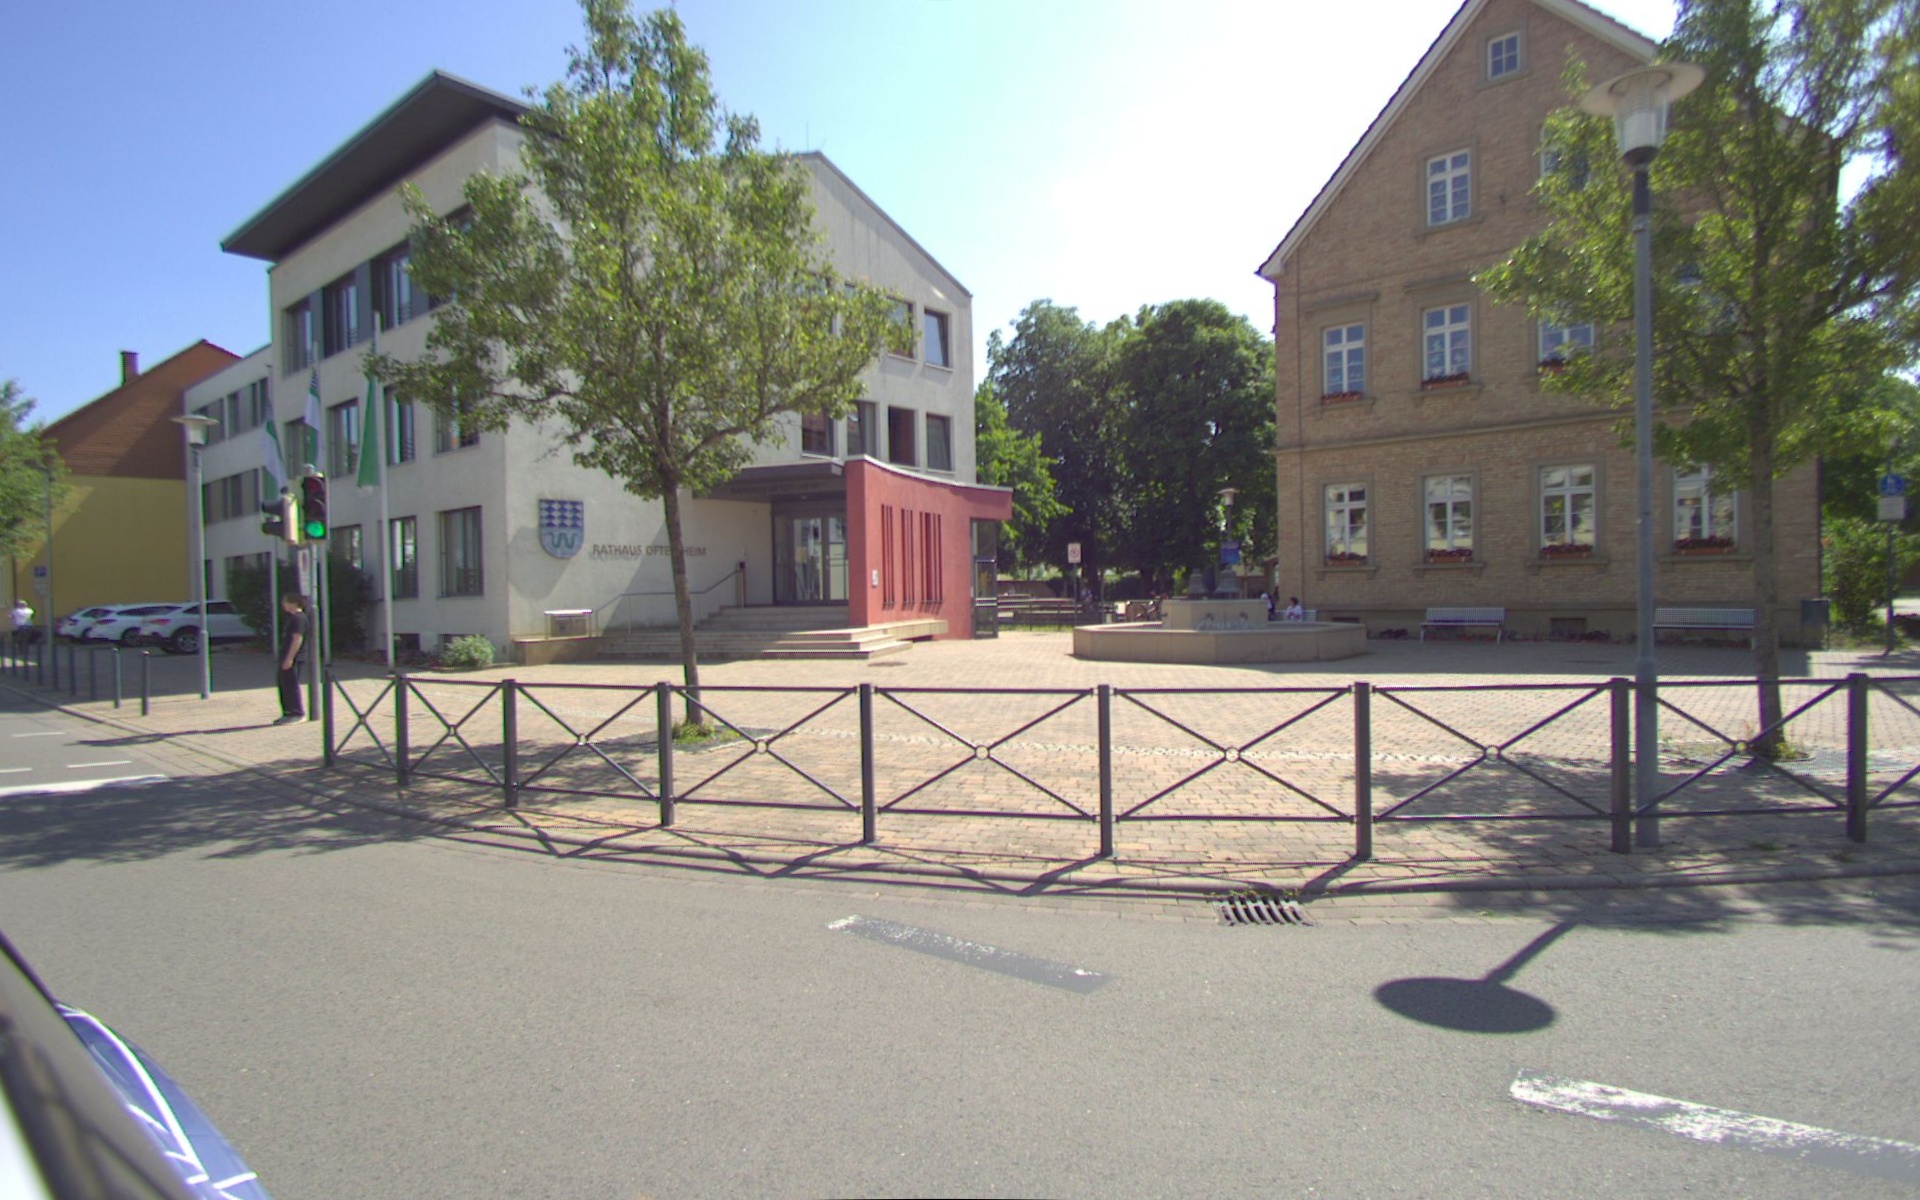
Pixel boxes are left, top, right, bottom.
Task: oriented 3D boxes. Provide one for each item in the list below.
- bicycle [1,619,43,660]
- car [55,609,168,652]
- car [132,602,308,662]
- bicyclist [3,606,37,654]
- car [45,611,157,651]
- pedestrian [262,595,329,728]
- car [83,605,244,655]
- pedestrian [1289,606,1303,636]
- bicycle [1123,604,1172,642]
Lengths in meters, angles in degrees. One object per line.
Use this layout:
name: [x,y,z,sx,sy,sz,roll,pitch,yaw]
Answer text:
bicycle: [-30.548,1.271,32.942,1.969,1.261,0.702,-1,-1,38]
car: [-32.757,1.157,39.107,1.642,1.461,3.099,-1,1,41]
car: [-22.308,0.928,30.635,1.747,1.559,3.948,-1,1,39]
bicyclist: [-30.566,0.963,32.907,0.870,1.518,0.707,-1,-1,38]
car: [-34.400,1.205,40.583,1.373,1.412,3.218,-1,1,39]
pedestrian: [-8.404,0.762,12.817,0.541,1.631,0.559,-1,1,-15]
car: [-28.412,1.036,36.210,1.512,1.490,4.269,-1,2,41]
pedestrian: [8.364,0.514,25.158,0.287,0.738,0.355,-1,-1,24]
bicycle: [5.661,0.667,30.445,0.580,1.013,1.929,-1,2,38]
